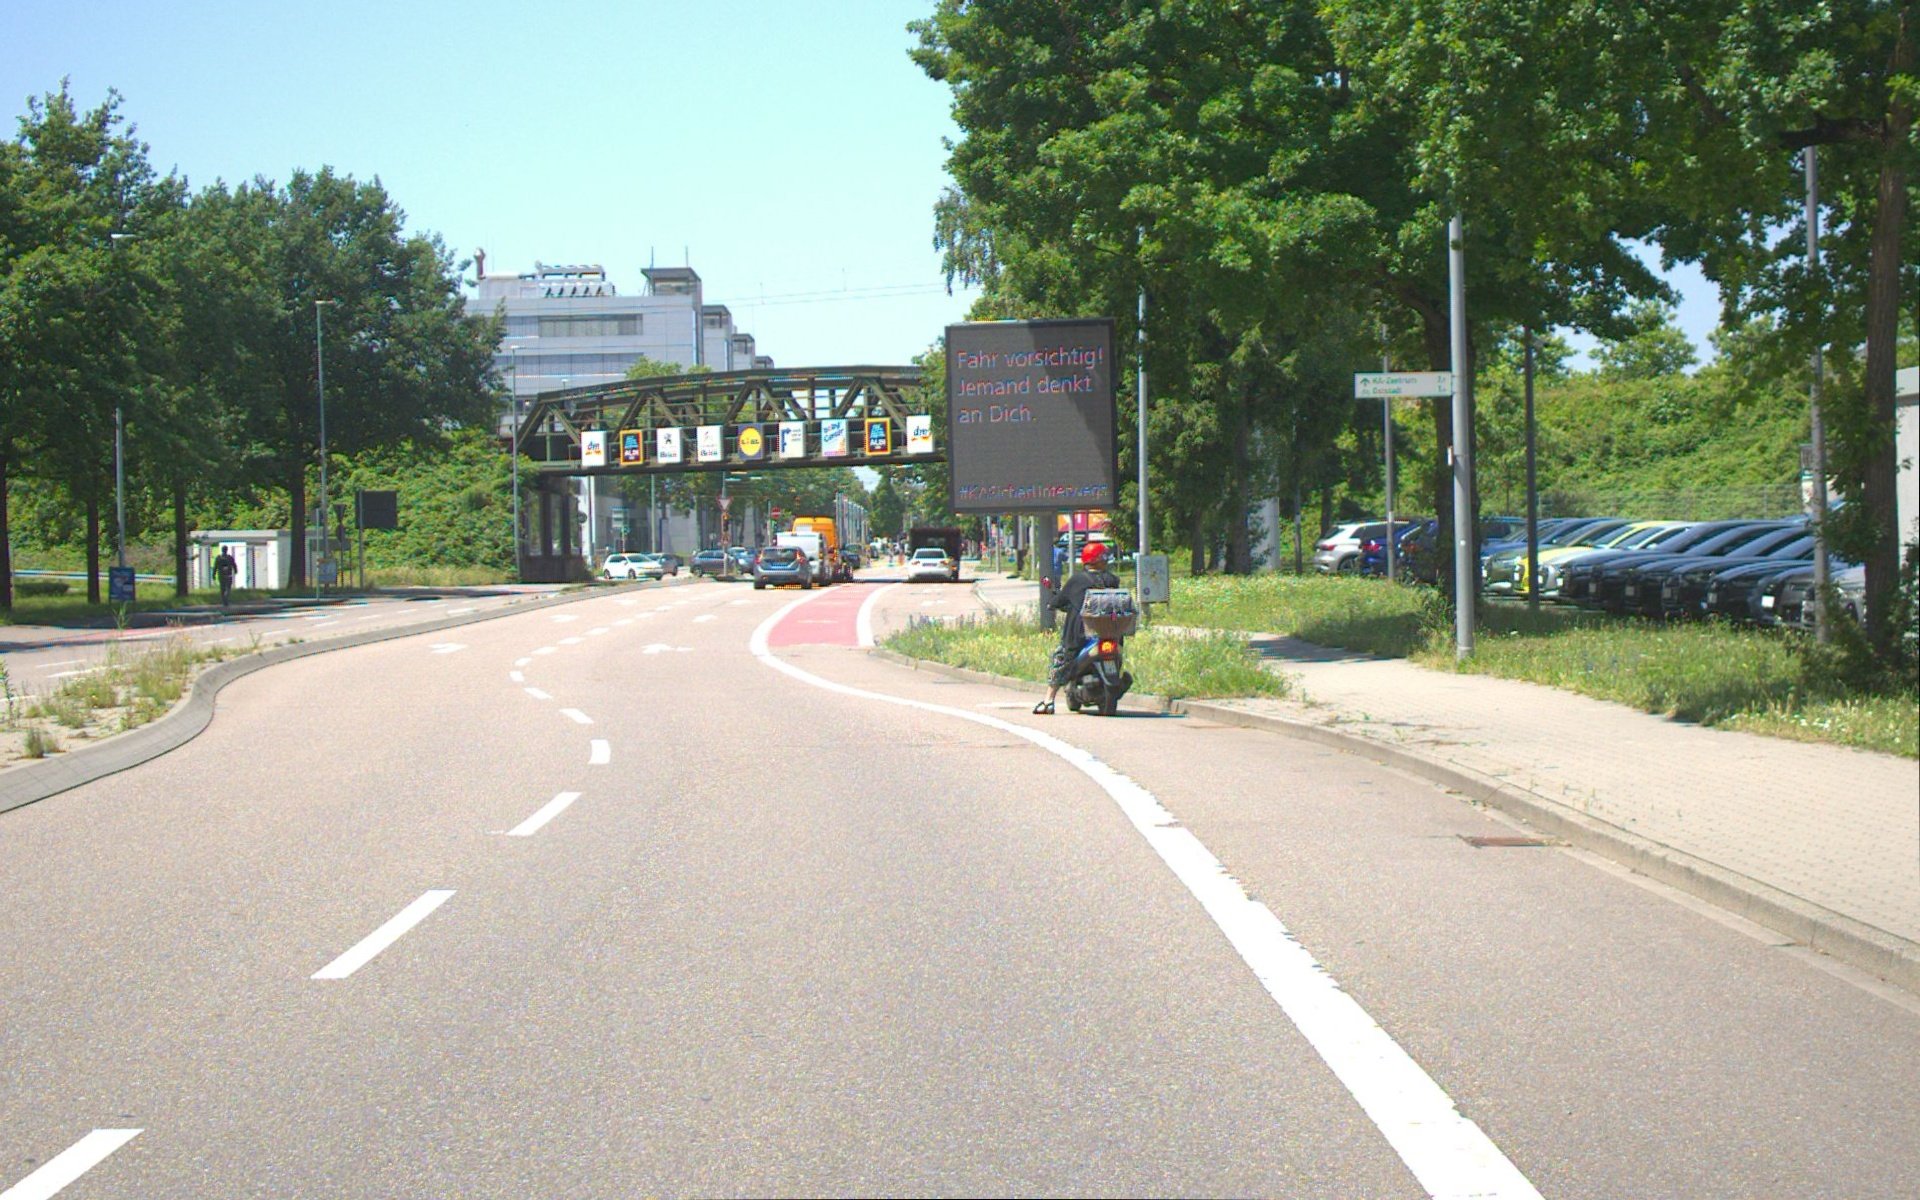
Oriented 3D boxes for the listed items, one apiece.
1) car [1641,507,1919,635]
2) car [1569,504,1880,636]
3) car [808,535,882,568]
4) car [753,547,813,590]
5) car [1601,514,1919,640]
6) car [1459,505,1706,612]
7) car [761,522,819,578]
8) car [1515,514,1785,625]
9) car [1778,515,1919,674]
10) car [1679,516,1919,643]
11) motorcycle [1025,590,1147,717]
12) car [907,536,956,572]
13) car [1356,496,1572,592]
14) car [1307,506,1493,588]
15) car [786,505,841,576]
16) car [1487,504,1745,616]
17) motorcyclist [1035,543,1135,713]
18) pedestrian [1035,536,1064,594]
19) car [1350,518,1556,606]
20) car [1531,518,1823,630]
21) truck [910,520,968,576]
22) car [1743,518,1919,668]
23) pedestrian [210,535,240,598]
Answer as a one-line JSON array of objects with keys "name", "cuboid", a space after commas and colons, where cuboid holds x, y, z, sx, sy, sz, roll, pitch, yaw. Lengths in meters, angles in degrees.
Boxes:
[{"name": "car", "cuboid": [11.234, -0.360, 45.306, 3.986, 1.435, 1.798, 4, 1, -5]}, {"name": "car", "cuboid": [11.178, -0.442, 50.422, 3.986, 1.619, 1.798, 4, 1, -5]}, {"name": "car", "cuboid": [-6.514, -2.752, 194.766, 3.987, 1.744, 1.892, -1, 1, 5]}, {"name": "car", "cuboid": [-5.945, -1.086, 115.949, 1.900, 1.371, 4.232, -1, 1, -1]}, {"name": "car", "cuboid": [11.156, -0.323, 47.765, 3.986, 1.435, 1.798, 4, 1, -5]}, {"name": "car", "cuboid": [10.993, -0.739, 60.849, 3.860, 1.598, 1.798, 4, 1, -5]}, {"name": "car", "cuboid": [-6.151, -1.821, 124.456, 1.993, 2.007, 4.000, 0, 1, -1]}, {"name": "car", "cuboid": [11.194, -0.497, 55.888, 3.860, 1.497, 1.798, 4, 1, -5]}, {"name": "car", "cuboid": [11.164, 0.039, 37.282, 3.986, 1.612, 1.798, 4, 1, -5]}, {"name": "car", "cuboid": [11.149, -0.207, 42.519, 3.986, 1.372, 1.798, 4, 1, -5]}, {"name": "motorcycle", "cuboid": [1.134, 0.470, 31.316, 0.716, 1.101, 1.831, 0, 1, -10]}, {"name": "car", "cuboid": [-1.161, -1.894, 140.056, 1.924, 1.415, 4.000, 0, 1, -1]}, {"name": "car", "cuboid": [10.031, -1.119, 68.558, 3.860, 1.598, 1.798, 4, 1, -5]}, {"name": "car", "cuboid": [10.152, -1.221, 79.470, 3.860, 1.598, 1.798, 4, 1, -5]}, {"name": "car", "cuboid": [-6.016, -2.454, 141.799, 2.072, 2.845, 6.766, -1, 1, -1]}, {"name": "car", "cuboid": [11.114, -0.688, 58.394, 3.860, 1.598, 1.798, 4, 1, -5]}, {"name": "motorcyclist", "cuboid": [1.134, 0.247, 31.343, 0.719, 1.524, 0.871, 0, 1, -10]}, {"name": "pedestrian", "cuboid": [2.124, -0.828, 81.571, 0.623, 1.370, 0.564, -1, 1, -2]}, {"name": "car", "cuboid": [10.225, -0.793, 71.431, 3.860, 1.598, 1.798, 3, 1, -5]}, {"name": "car", "cuboid": [11.072, -0.411, 53.215, 3.986, 1.418, 1.798, 4, 1, -5]}, {"name": "truck", "cuboid": [-0.961, -2.315, 151.514, 2.458, 2.402, 7.134, 1, 1, -1]}, {"name": "car", "cuboid": [11.230, -0.002, 39.469, 3.916, 1.576, 1.798, 4, 1, -5]}, {"name": "pedestrian", "cuboid": [-21.895, -1.002, 102.418, 0.743, 1.877, 0.577, -1, 1, 0]}]
